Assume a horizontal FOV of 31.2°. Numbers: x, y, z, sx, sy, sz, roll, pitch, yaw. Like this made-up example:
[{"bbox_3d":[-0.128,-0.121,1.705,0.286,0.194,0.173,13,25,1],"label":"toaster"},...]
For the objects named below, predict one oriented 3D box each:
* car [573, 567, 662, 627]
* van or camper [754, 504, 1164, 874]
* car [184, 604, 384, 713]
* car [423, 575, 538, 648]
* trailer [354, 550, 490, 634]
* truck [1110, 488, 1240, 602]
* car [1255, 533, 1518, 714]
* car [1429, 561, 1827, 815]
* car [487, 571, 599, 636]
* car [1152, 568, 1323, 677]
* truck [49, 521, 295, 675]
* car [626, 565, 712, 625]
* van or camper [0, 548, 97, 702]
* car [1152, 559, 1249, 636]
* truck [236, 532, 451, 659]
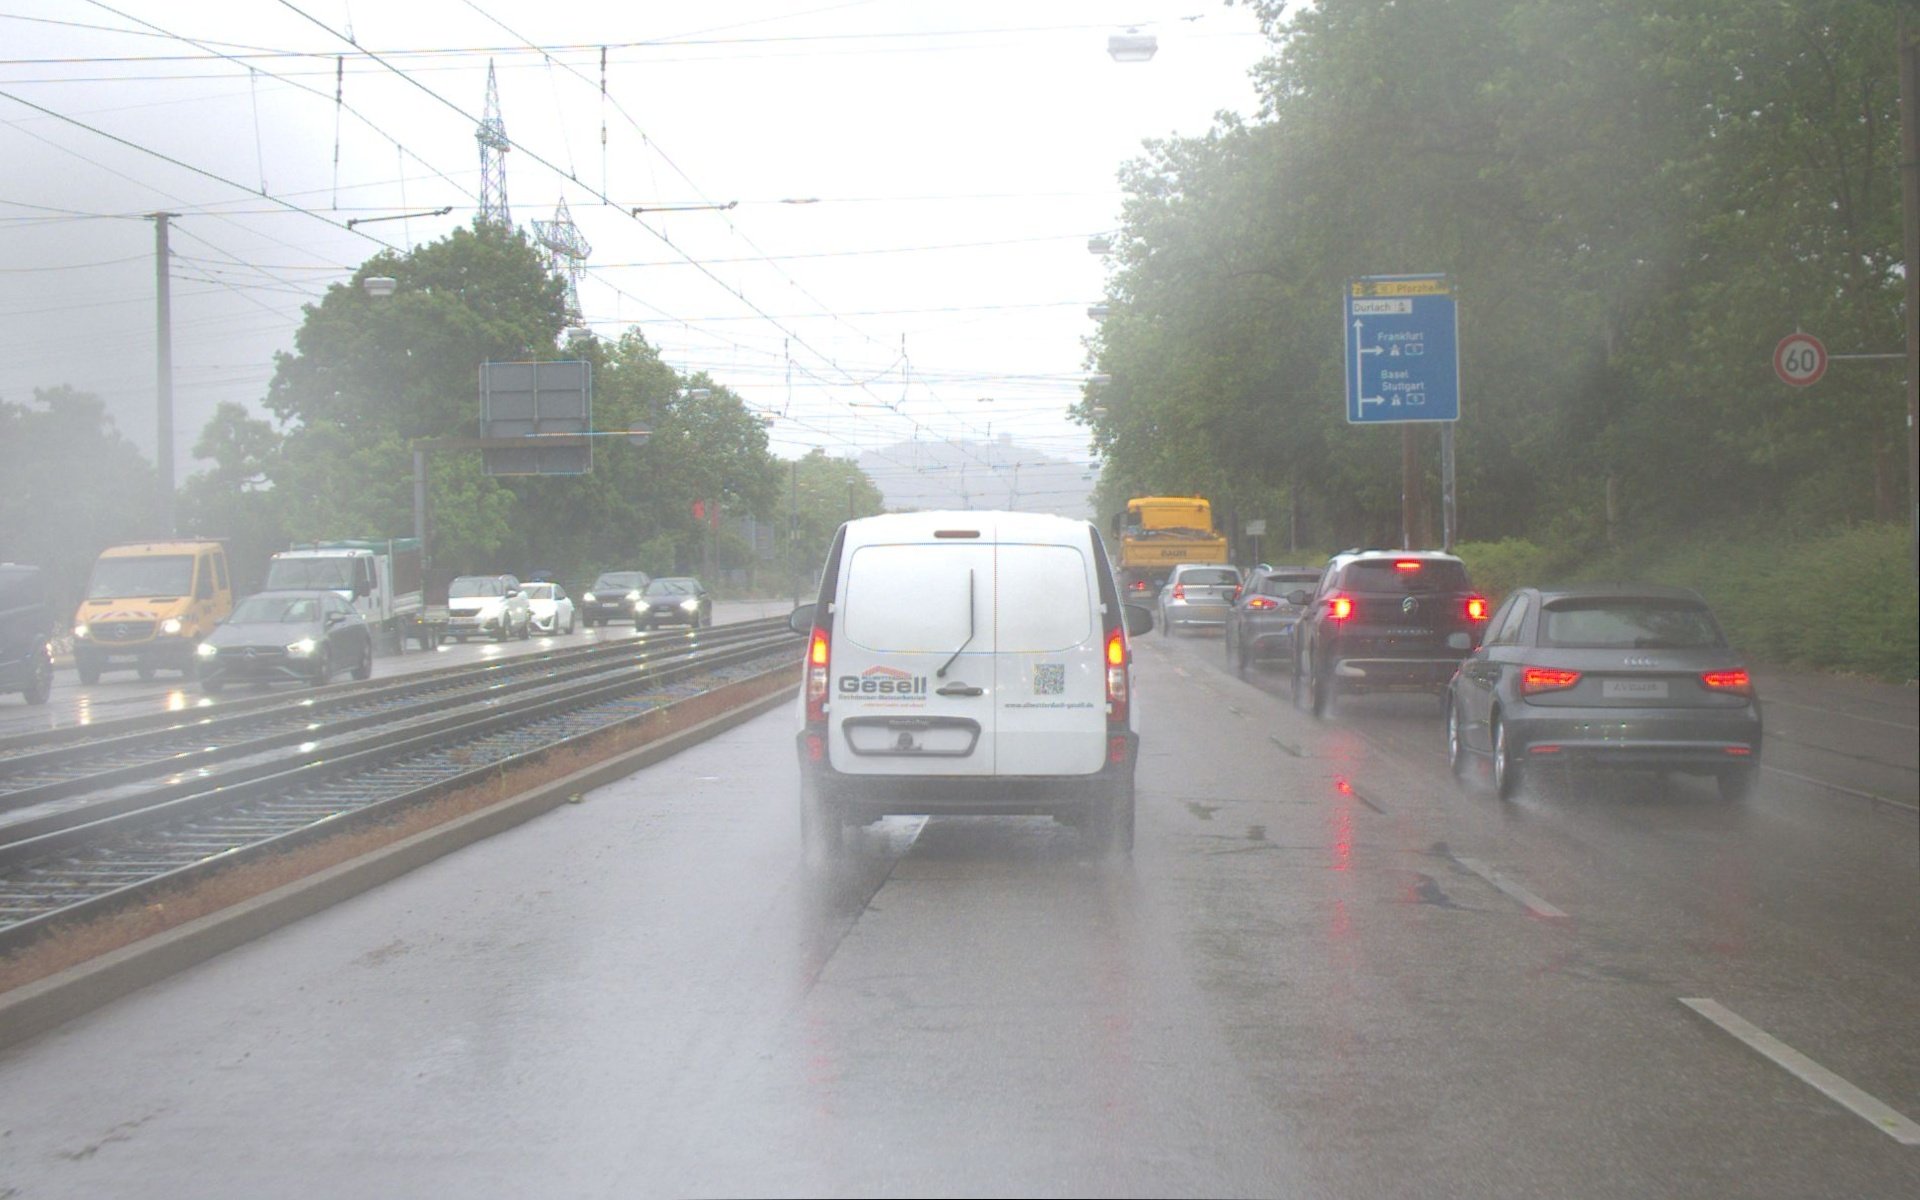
[{"bbox_3d":[-10.576,-0.100,106.425,1.994,1.715,4.881,-2,1,3],"label":"car"},{"bbox_3d":[-0.011,0.381,18.854,1.993,1.778,4.000,1,2,0],"label":"van or camper"},{"bbox_3d":[-10.098,0.844,51.683,1.858,1.489,4.689,-2,0,2],"label":"car"},{"bbox_3d":[-11.674,0.253,83.975,1.772,1.677,4.688,1,1,5],"label":"car"},{"bbox_3d":[-11.995,-0.190,76.919,2.119,1.786,3.836,1,1,5],"label":"trailer"},{"bbox_3d":[5.368,-1.381,86.953,3.113,2.764,6.329,0,1,2],"label":"truck"},{"bbox_3d":[4.277,0.180,35.206,1.899,1.711,4.726,0,1,-3],"label":"car"},{"bbox_3d":[4.418,0.522,23.355,1.968,1.523,3.991,0,1,1],"label":"car"},{"bbox_3d":[-11.122,0.074,92.031,1.994,1.578,4.765,-2,1,5],"label":"car"},{"bbox_3d":[3.861,0.285,48.415,1.818,1.409,3.779,0,1,-4],"label":"car"},{"bbox_3d":[-13.367,-0.069,58.763,2.227,2.453,6.065,1,1,6],"label":"truck"},{"bbox_3d":[-8.120,-0.148,96.262,1.819,1.617,4.536,-1,0,2],"label":"car"},{"bbox_3d":[-13.641,0.304,46.080,2.305,2.007,5.685,1,1,5],"label":"van or camper"},{"bbox_3d":[4.686,-0.077,67.296,1.818,1.409,3.778,0,1,3],"label":"car"},{"bbox_3d":[-12.620,-0.119,70.958,2.435,2.449,7.217,1,1,6],"label":"truck"}]
